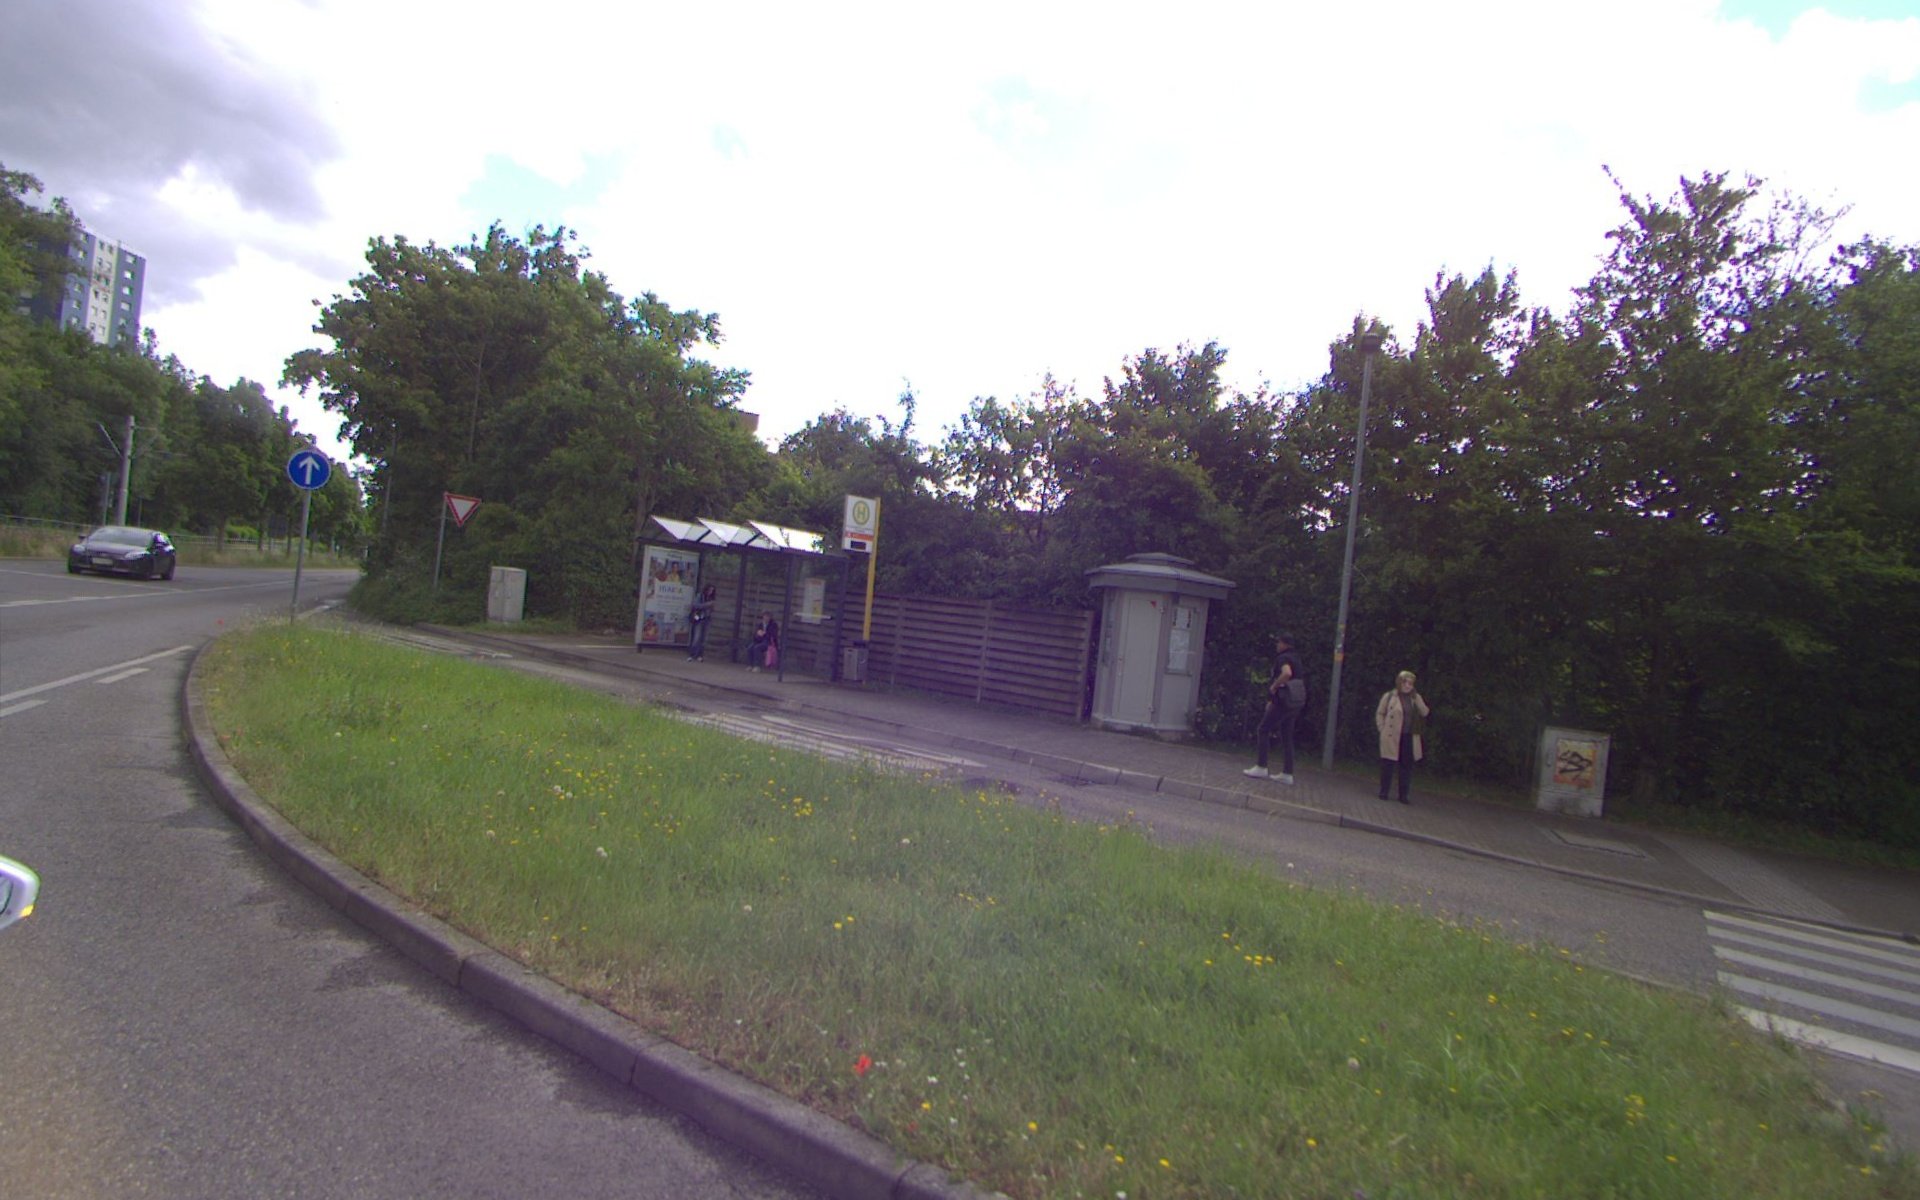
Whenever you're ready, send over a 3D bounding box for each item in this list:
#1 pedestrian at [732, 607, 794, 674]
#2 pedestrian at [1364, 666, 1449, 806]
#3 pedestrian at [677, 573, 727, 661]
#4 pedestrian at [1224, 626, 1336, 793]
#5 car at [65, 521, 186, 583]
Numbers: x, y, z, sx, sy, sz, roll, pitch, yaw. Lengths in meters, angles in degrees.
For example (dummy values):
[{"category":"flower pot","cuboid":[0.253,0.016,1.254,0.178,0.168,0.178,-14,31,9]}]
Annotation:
[{"category":"pedestrian","cuboid":[-3.811,0.791,19.501,0.759,1.184,0.748,6,-1,34]},{"category":"pedestrian","cuboid":[5.603,1.677,12.619,0.758,1.613,0.686,6,0,31]},{"category":"pedestrian","cuboid":[-5.221,0.348,20.399,0.674,1.670,0.771,6,0,-4]},{"category":"pedestrian","cuboid":[3.968,1.331,12.435,0.967,1.844,0.856,9,1,26]},{"category":"car","cuboid":[-24.453,-1.369,29.641,1.741,1.451,4.399,7,-2,-28]}]
